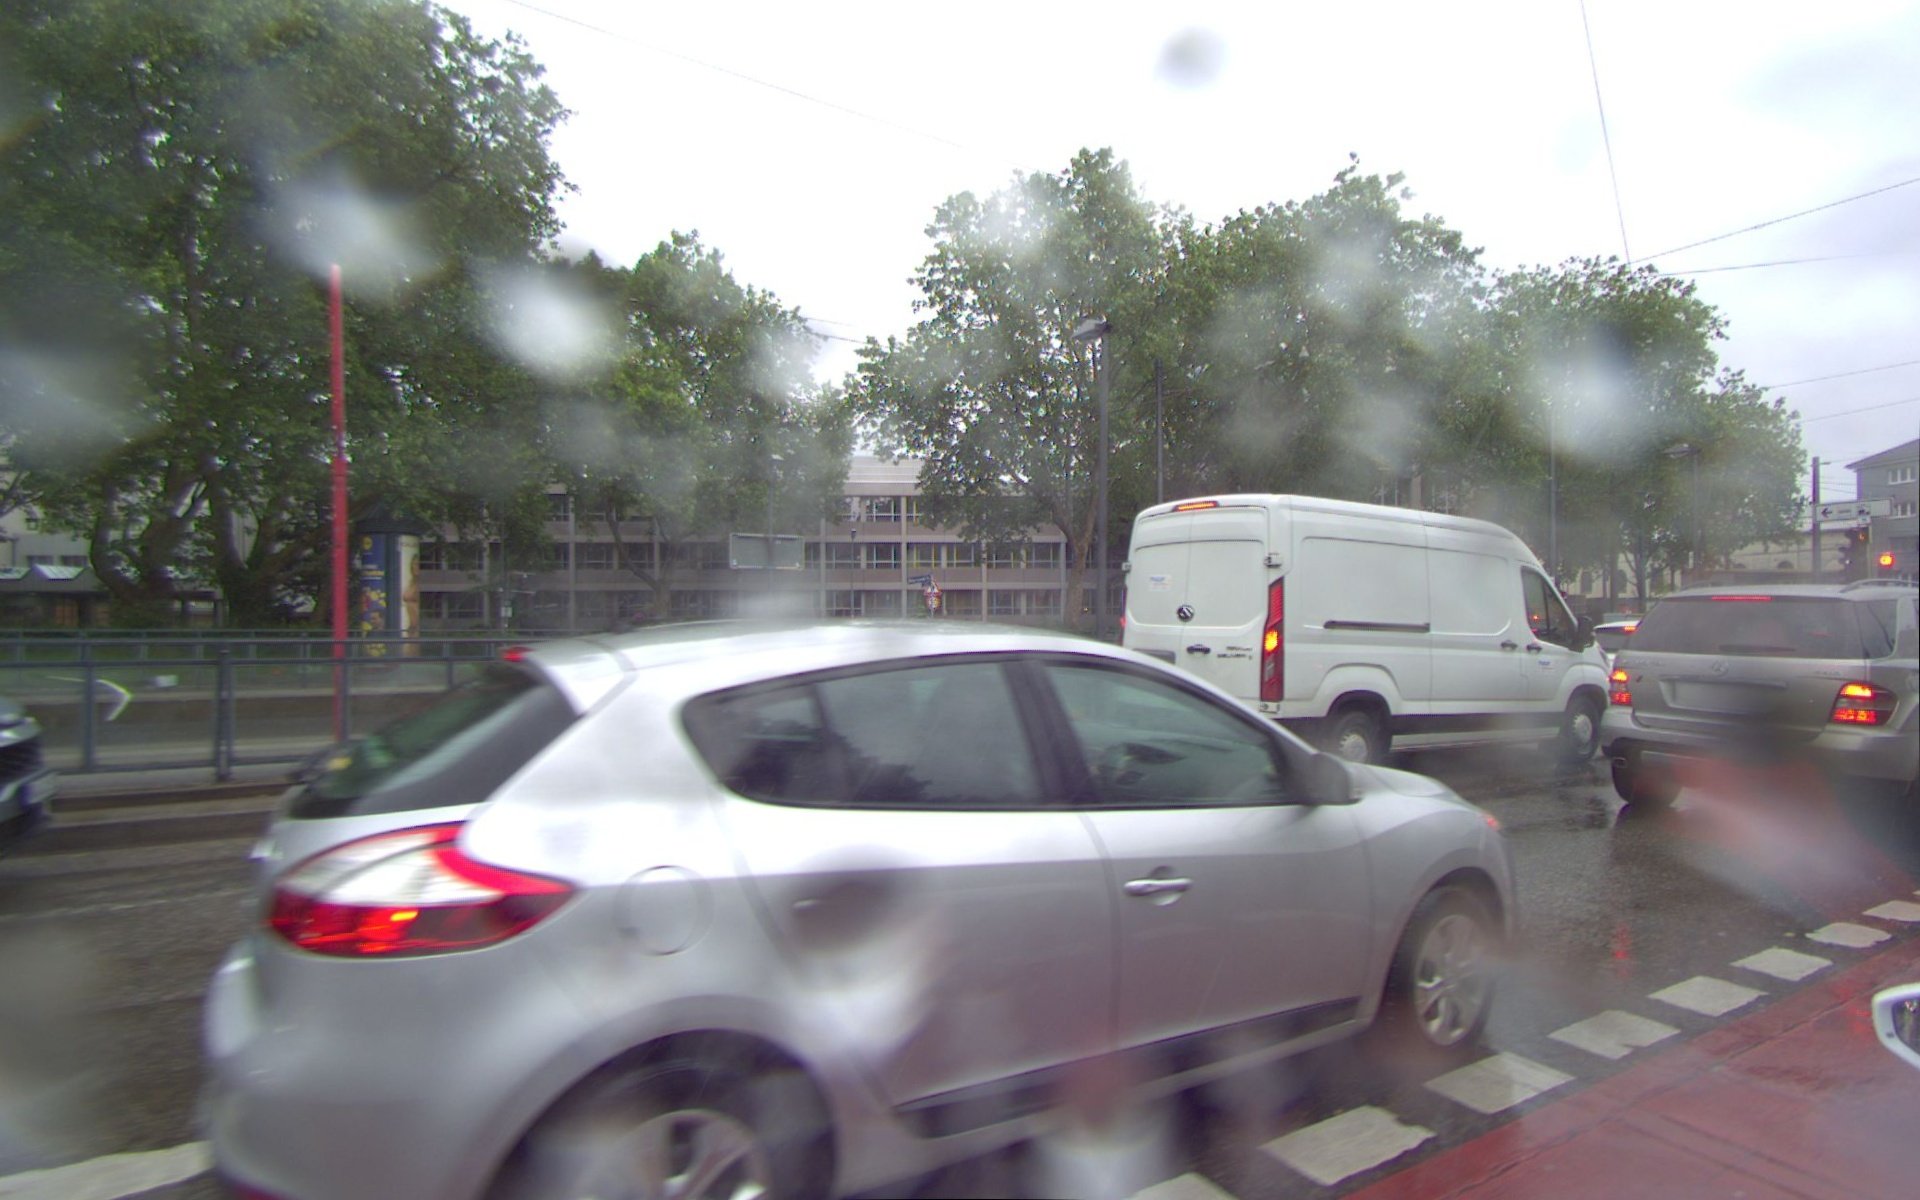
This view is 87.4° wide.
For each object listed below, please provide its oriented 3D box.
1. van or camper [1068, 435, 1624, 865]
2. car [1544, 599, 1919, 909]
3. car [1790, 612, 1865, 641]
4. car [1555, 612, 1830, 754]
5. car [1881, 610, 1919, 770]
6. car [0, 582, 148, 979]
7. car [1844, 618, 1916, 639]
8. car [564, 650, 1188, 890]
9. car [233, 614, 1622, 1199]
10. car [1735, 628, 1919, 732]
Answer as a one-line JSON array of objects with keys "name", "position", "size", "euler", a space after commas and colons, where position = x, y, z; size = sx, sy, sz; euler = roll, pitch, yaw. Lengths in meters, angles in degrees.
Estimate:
[{"name": "van or camper", "position": [3.989, 0.436, 9.923], "size": [5.788, 3.183, 2.146], "euler": [1, -1, -33]}, {"name": "car", "position": [6.799, 0.938, 7.887], "size": [4.413, 1.794, 2.014], "euler": [1, 0, -32]}, {"name": "car", "position": [70.553, 2.150, 81.735], "size": [4.698, 2.228, 1.997], "euler": [-1, 1, -7]}, {"name": "car", "position": [9.795, 1.017, 13.385], "size": [3.792, 1.650, 1.637], "euler": [1, -1, -31]}, {"name": "car", "position": [12.245, 0.999, 11.206], "size": [4.125, 1.690, 1.825], "euler": [1, 0, -31]}, {"name": "car", "position": [-6.245, 0.733, 3.976], "size": [4.401, 1.645, 1.906], "euler": [1, -2, -30]}, {"name": "car", "position": [72.266, 2.221, 78.938], "size": [3.923, 1.516, 1.959], "euler": [-1, 1, -4]}, {"name": "car", "position": [-0.433, 0.960, 6.867], "size": [4.042, 1.132, 1.455], "euler": [1, 0, -32]}, {"name": "car", "position": [0.191, 0.832, 3.229], "size": [3.956, 1.497, 1.758], "euler": [1, 0, -32]}, {"name": "car", "position": [14.990, 1.264, 16.835], "size": [3.953, 1.504, 1.835], "euler": [1, 0, -30]}]
